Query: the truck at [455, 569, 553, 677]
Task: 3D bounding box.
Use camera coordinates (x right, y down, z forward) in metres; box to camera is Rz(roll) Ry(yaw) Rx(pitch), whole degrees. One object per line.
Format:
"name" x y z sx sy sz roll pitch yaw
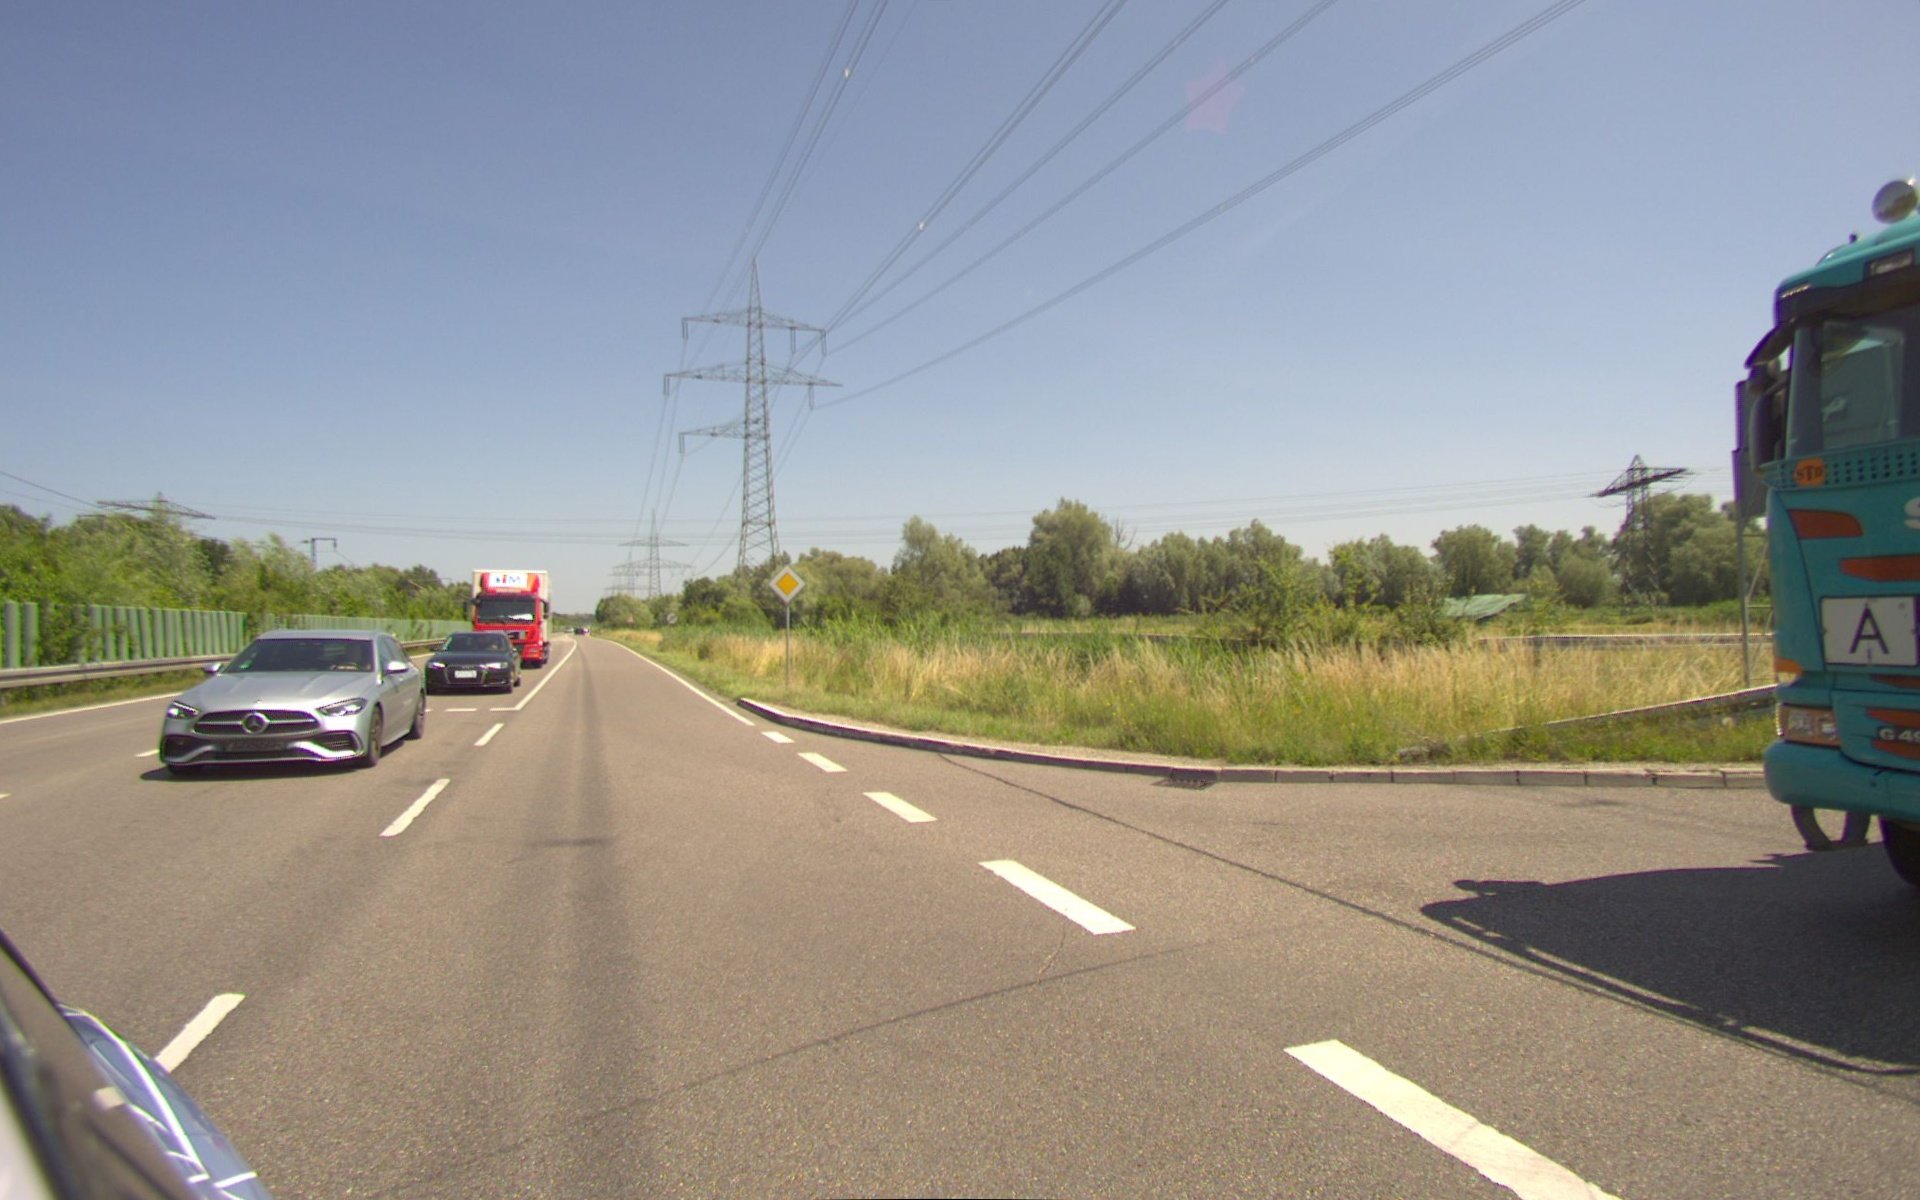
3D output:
"truck" -17.180 0.874 38.560 2.859 3.690 7.179 -1 -1 -20

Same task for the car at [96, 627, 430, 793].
"car" -7.385 1.045 11.307 1.965 1.457 4.481 1 -2 -20

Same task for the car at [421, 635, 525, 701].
"car" -11.369 1.529 23.880 1.670 1.403 4.481 1 -2 -19

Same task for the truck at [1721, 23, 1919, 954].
"truck" 7.782 -0.581 4.699 7.795 3.763 2.505 -2 -1 -17
